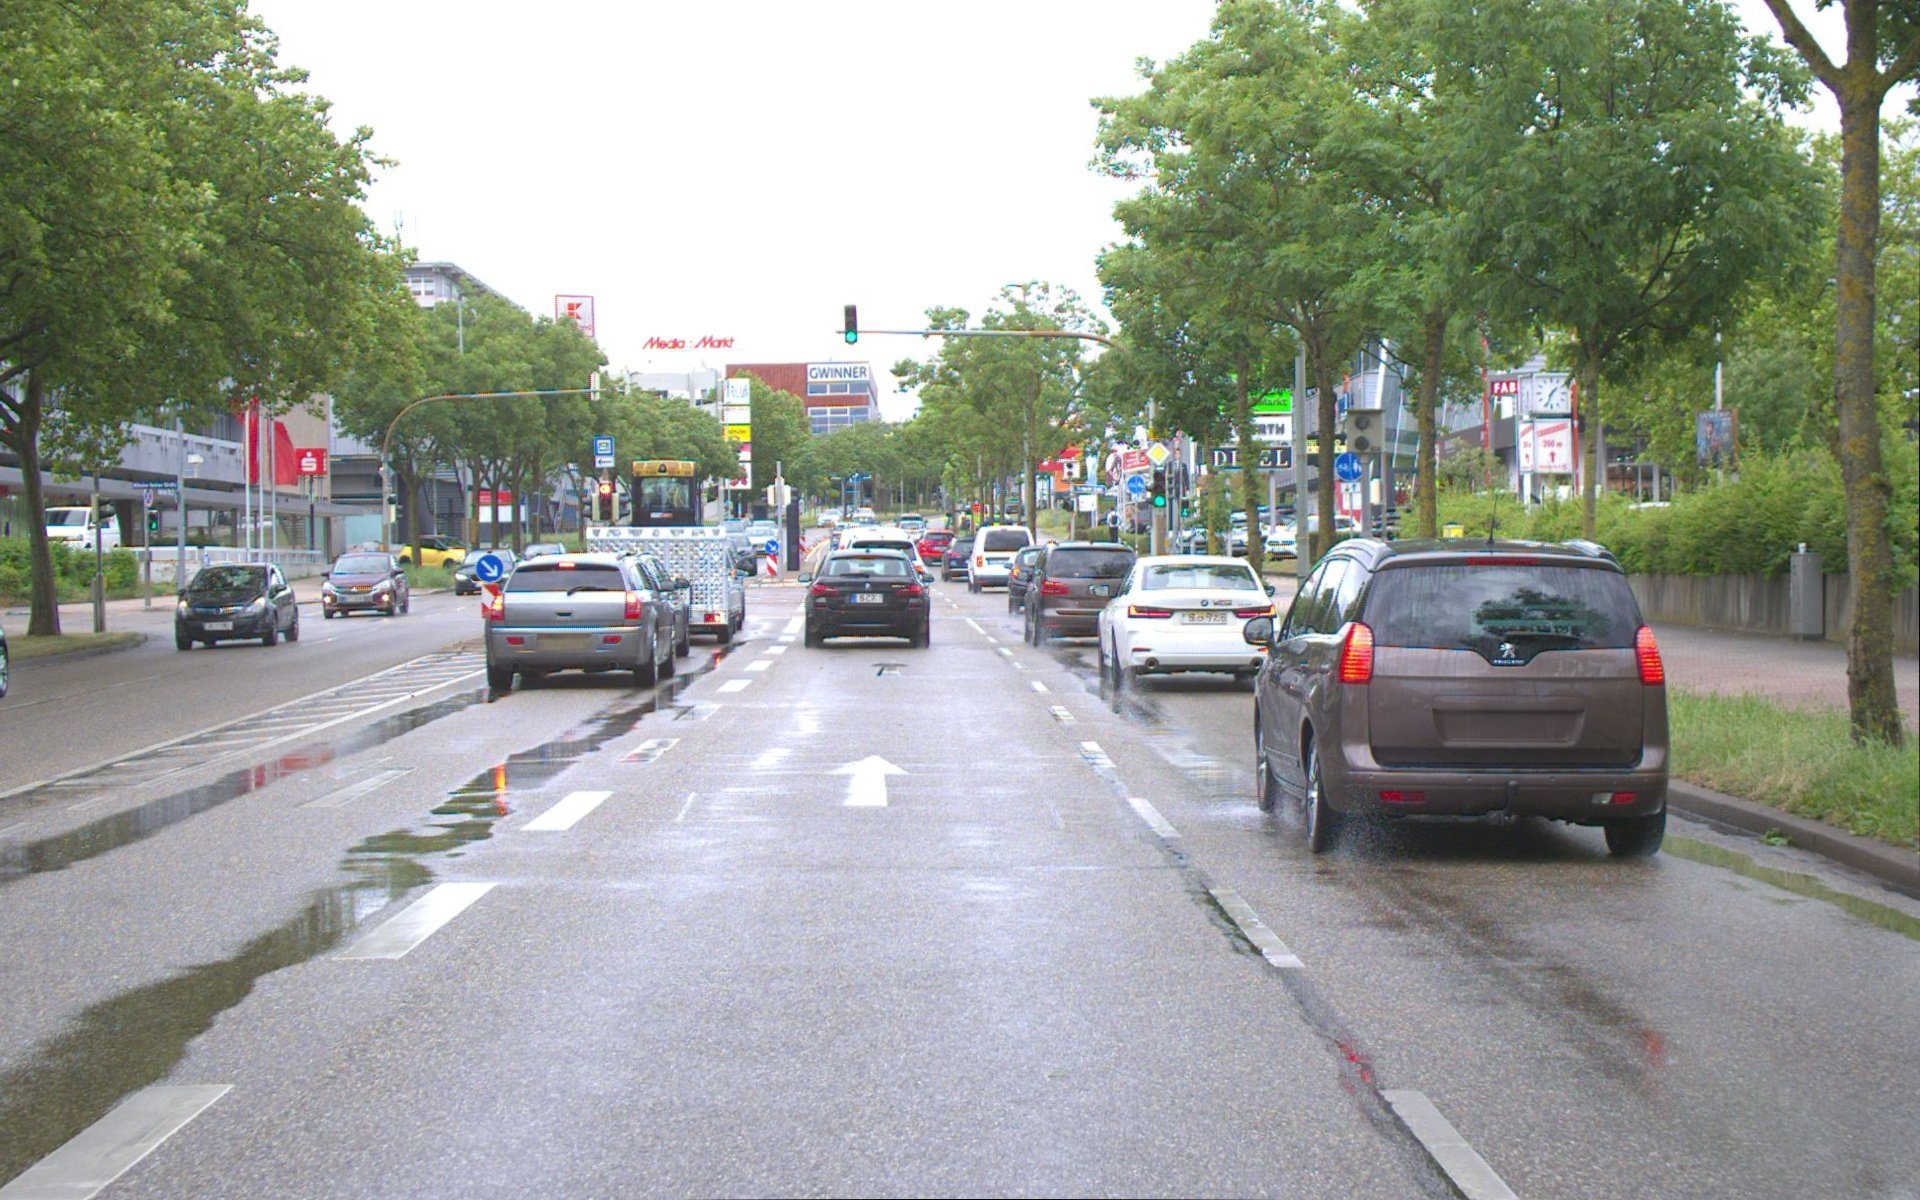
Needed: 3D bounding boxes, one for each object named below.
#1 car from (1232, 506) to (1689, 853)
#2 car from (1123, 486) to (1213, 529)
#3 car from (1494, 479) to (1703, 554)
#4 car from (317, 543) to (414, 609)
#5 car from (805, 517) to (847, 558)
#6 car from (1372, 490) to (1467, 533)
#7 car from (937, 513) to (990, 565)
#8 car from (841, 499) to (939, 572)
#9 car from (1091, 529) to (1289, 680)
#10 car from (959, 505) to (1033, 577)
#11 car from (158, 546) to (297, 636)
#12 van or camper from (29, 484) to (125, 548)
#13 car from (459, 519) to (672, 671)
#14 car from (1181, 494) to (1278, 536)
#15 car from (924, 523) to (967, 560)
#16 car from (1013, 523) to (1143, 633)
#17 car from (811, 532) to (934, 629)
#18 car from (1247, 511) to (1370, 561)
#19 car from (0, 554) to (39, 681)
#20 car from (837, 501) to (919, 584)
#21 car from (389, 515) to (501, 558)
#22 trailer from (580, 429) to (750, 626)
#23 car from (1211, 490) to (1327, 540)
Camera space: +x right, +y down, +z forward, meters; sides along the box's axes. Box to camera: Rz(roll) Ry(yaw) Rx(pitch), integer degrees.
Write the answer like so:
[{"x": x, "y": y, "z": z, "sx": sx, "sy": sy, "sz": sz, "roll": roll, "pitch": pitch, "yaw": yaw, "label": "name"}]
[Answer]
[{"x": 2.556, "y": 0.332, "z": 18.564, "sx": 1.726, "sy": 1.619, "sz": 4.471, "roll": -1, "pitch": 1, "yaw": -1, "label": "car"}, {"x": 9.794, "y": -4.346, "z": 161.911, "sx": 4.111, "sy": 1.898, "sz": 1.800, "roll": -1, "pitch": 2, "yaw": 1, "label": "car"}, {"x": 13.138, "y": -1.728, "z": 70.873, "sx": 3.987, "sy": 1.437, "sz": 1.655, "roll": -1, "pitch": 2, "yaw": 1, "label": "car"}, {"x": -14.021, "y": -0.594, "z": 81.227, "sx": 1.709, "sy": 1.460, "sz": 4.086, "roll": -2, "pitch": 1, "yaw": -3, "label": "car"}, {"x": -6.858, "y": -3.198, "z": 176.645, "sx": 1.993, "sy": 2.007, "sz": 4.000, "roll": 1, "pitch": 1, "yaw": -1, "label": "car"}, {"x": 19.033, "y": -3.675, "z": 142.361, "sx": 3.964, "sy": 1.714, "sz": 1.633, "roll": -2, "pitch": 2, "yaw": -40, "label": "car"}, {"x": 0.106, "y": -1.990, "z": 113.123, "sx": 1.685, "sy": 1.678, "sz": 3.403, "roll": 1, "pitch": 1, "yaw": 0, "label": "car"}, {"x": -1.429, "y": -1.304, "z": 68.559, "sx": 1.682, "sy": 1.372, "sz": 4.001, "roll": -1, "pitch": 1, "yaw": -5, "label": "car"}, {"x": 2.485, "y": -0.002, "z": 38.081, "sx": 1.801, "sy": 1.539, "sz": 4.620, "roll": 1, "pitch": 1, "yaw": -1, "label": "car"}, {"x": 0.947, "y": -1.605, "z": 92.908, "sx": 1.781, "sy": 1.860, "sz": 4.001, "roll": -1, "pitch": 1, "yaw": -2, "label": "car"}, {"x": -12.886, "y": -0.187, "z": 60.694, "sx": 1.709, "sy": 1.460, "sz": 4.086, "roll": -2, "pitch": 1, "yaw": -3, "label": "car"}, {"x": -28.564, "y": -2.694, "z": 111.364, "sx": 1.993, "sy": 1.960, "sz": 4.789, "roll": 1, "pitch": 1, "yaw": -2, "label": "van or camper"}, {"x": -4.415, "y": -0.102, "z": 39.173, "sx": 1.907, "sy": 1.573, "sz": 4.881, "roll": -1, "pitch": 1, "yaw": -1, "label": "car"}, {"x": 10.374, "y": -3.267, "z": 132.429, "sx": 3.589, "sy": 1.530, "sz": 1.643, "roll": -2, "pitch": 2, "yaw": -40, "label": "car"}, {"x": -0.621, "y": -2.372, "z": 139.837, "sx": 1.695, "sy": 1.438, "sz": 3.989, "roll": -1, "pitch": 1, "yaw": -1, "label": "car"}, {"x": 1.798, "y": -0.376, "z": 53.607, "sx": 1.801, "sy": 1.581, "sz": 4.451, "roll": 1, "pitch": 2, "yaw": -1, "label": "car"}, {"x": -1.327, "y": -0.326, "z": 51.729, "sx": 1.781, "sy": 1.393, "sz": 4.001, "roll": 0, "pitch": 1, "yaw": -2, "label": "car"}, {"x": 11.606, "y": -2.137, "z": 114.329, "sx": 1.930, "sy": 1.571, "sz": 4.278, "roll": 0, "pitch": 2, "yaw": 40, "label": "car"}, {"x": -11.695, "y": 0.240, "z": 38.143, "sx": 1.736, "sy": 1.424, "sz": 4.538, "roll": -2, "pitch": 1, "yaw": -1, "label": "car"}, {"x": -2.065, "y": -1.439, "z": 86.567, "sx": 1.993, "sy": 2.007, "sz": 4.000, "roll": 1, "pitch": 1, "yaw": -1, "label": "car"}, {"x": -19.941, "y": -2.464, "z": 133.100, "sx": 3.994, "sy": 1.546, "sz": 1.896, "roll": 0, "pitch": 2, "yaw": 33, "label": "car"}, {"x": -4.584, "y": -1.143, "z": 54.246, "sx": 2.372, "sy": 2.887, "sz": 5.546, "roll": -1, "pitch": 1, "yaw": -2, "label": "trailer"}, {"x": 11.391, "y": -3.139, "z": 126.697, "sx": 4.016, "sy": 1.657, "sz": 1.982, "roll": -5, "pitch": 3, "yaw": -40, "label": "car"}]
